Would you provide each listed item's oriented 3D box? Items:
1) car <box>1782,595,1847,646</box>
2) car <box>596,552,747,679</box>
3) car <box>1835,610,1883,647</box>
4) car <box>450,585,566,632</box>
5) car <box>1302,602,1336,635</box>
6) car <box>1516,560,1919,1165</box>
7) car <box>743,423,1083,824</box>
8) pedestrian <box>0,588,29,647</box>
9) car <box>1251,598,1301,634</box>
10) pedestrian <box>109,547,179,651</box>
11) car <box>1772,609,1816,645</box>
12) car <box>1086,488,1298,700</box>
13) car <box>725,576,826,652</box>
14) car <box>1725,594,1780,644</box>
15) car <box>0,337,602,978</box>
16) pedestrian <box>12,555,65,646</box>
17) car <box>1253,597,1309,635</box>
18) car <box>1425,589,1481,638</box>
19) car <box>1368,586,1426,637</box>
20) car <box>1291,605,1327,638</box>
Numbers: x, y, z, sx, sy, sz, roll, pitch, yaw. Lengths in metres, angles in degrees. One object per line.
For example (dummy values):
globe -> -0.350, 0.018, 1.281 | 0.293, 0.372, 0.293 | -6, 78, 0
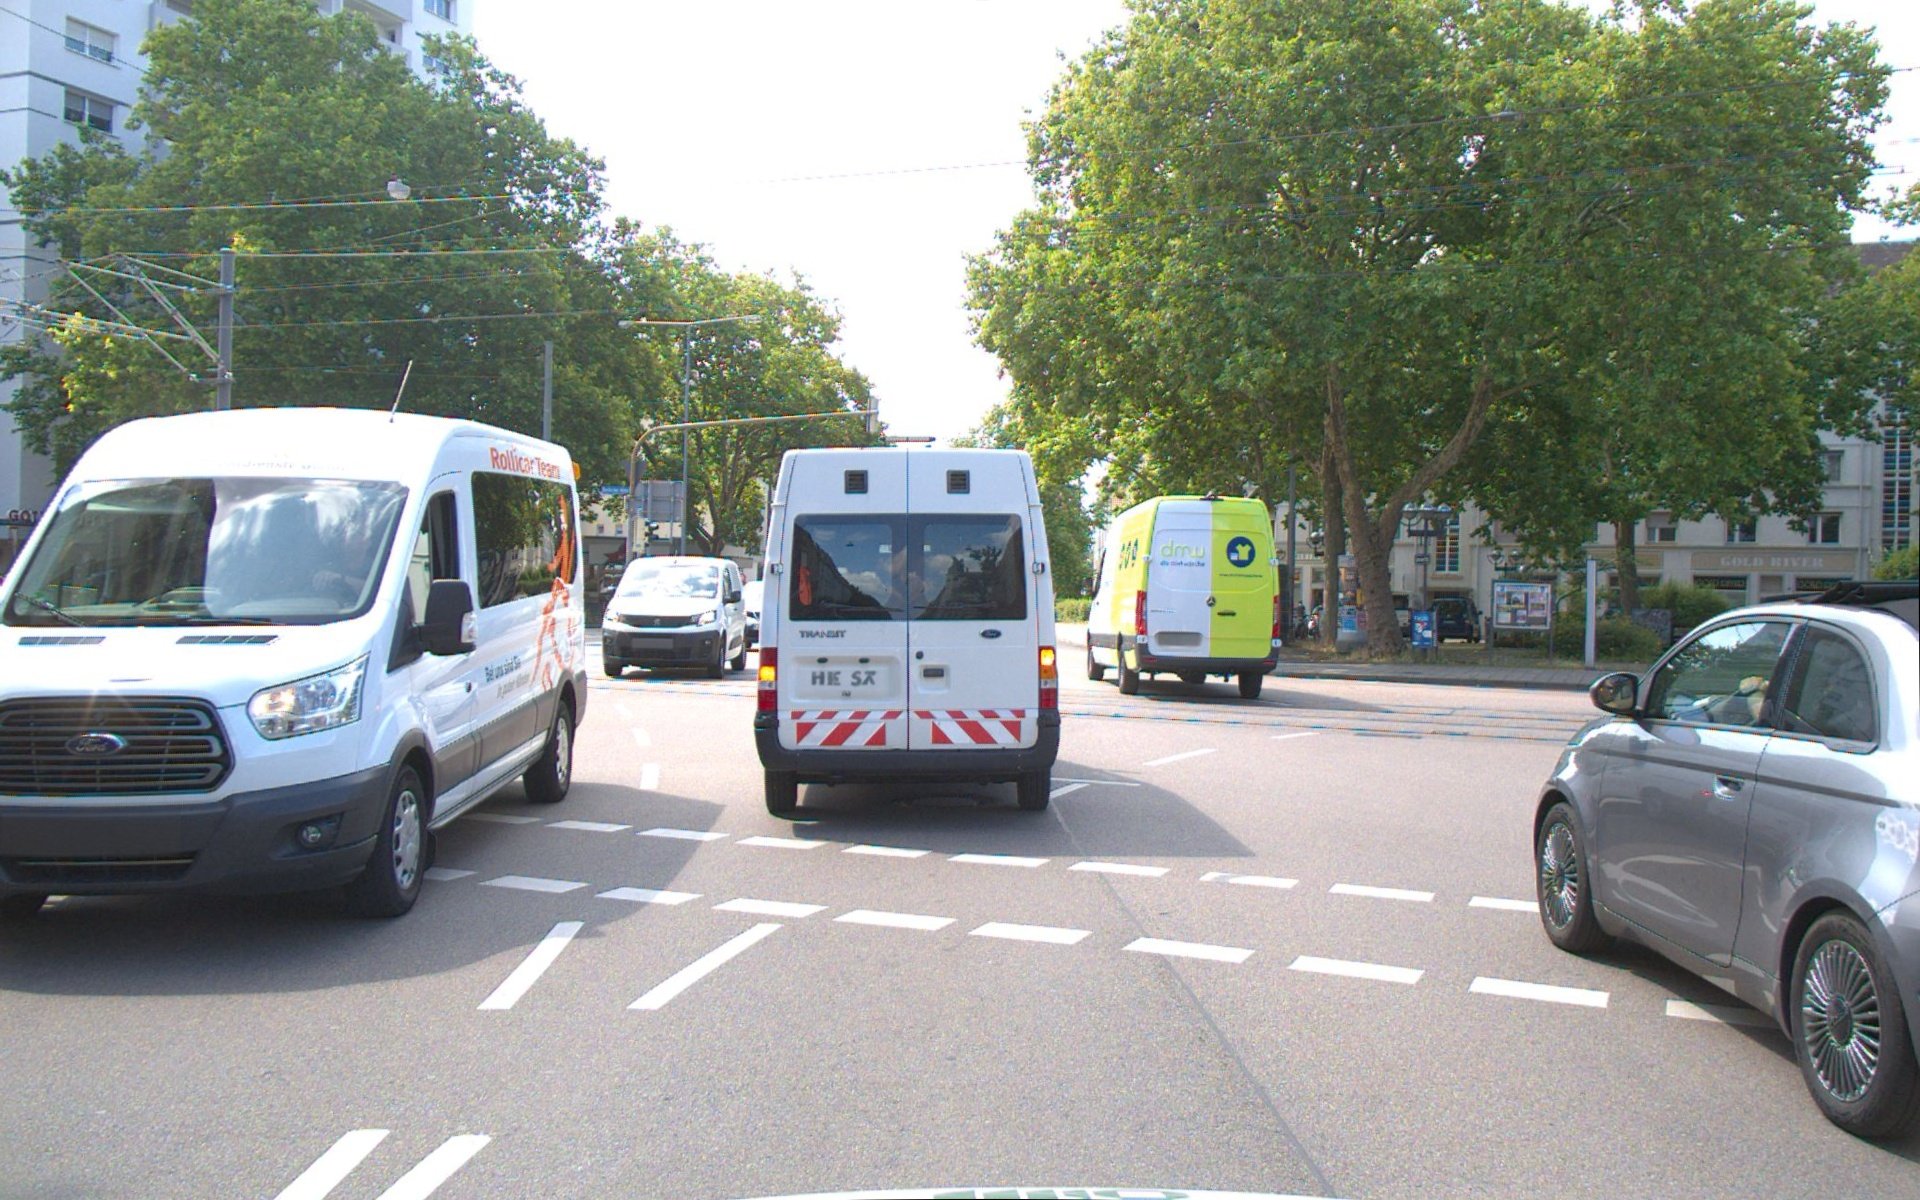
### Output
car -> 35.883, 0.846, 69.500 | 1.952, 2.049, 4.000 | 1, 0, 21
car -> -4.385, 0.172, 25.703 | 1.776, 1.806, 4.282 | 0, 1, -3
car -> 42.450, 1.316, 78.146 | 1.704, 1.666, 3.998 | 1, 0, 24
car -> -15.595, 0.290, 57.108 | 3.542, 1.571, 1.535 | 1, 0, -40
car -> 19.159, 0.983, 88.227 | 1.435, 1.695, 3.068 | 1, 0, 18
car -> 3.349, 0.675, 5.796 | 1.657, 1.564, 3.469 | 1, 1, 1
car -> -0.444, 0.120, 12.284 | 2.007, 2.373, 4.710 | 1, 1, -4
pedestrian -> -17.395, 0.320, 30.340 | 0.428, 1.082, 0.418 | 1, -1, 39
car -> 17.046, 0.858, 89.043 | 1.866, 1.827, 4.721 | 1, 0, 20
pedestrian -> -15.540, -0.021, 31.526 | 0.826, 1.932, 0.829 | 1, -1, 22
car -> 39.919, 1.277, 79.204 | 1.704, 1.666, 3.998 | 1, 0, 24
car -> 3.228, -0.101, 24.434 | 2.076, 2.687, 6.327 | 1, 0, -1
car -> -4.173, 0.275, 37.927 | 1.734, 1.610, 4.021 | 1, 1, 1
car -> 33.889, 0.793, 70.796 | 1.953, 2.049, 3.998 | 1, 0, 24
car -> -3.577, 0.149, 9.400 | 2.035, 2.487, 5.943 | -1, 1, -3
pedestrian -> -17.409, 0.009, 31.243 | 0.662, 1.695, 0.624 | 1, 0, 34
car -> 15.152, 0.749, 77.948 | 1.866, 1.719, 4.539 | 1, 0, 21
car -> 22.282, 0.616, 74.712 | 1.953, 2.112, 3.999 | 1, 0, 23
car -> 19.960, 0.538, 75.368 | 1.953, 2.221, 4.256 | 1, 0, 23
car -> 15.451, 0.942, 73.126 | 1.434, 1.413, 3.069 | 1, 0, 14
